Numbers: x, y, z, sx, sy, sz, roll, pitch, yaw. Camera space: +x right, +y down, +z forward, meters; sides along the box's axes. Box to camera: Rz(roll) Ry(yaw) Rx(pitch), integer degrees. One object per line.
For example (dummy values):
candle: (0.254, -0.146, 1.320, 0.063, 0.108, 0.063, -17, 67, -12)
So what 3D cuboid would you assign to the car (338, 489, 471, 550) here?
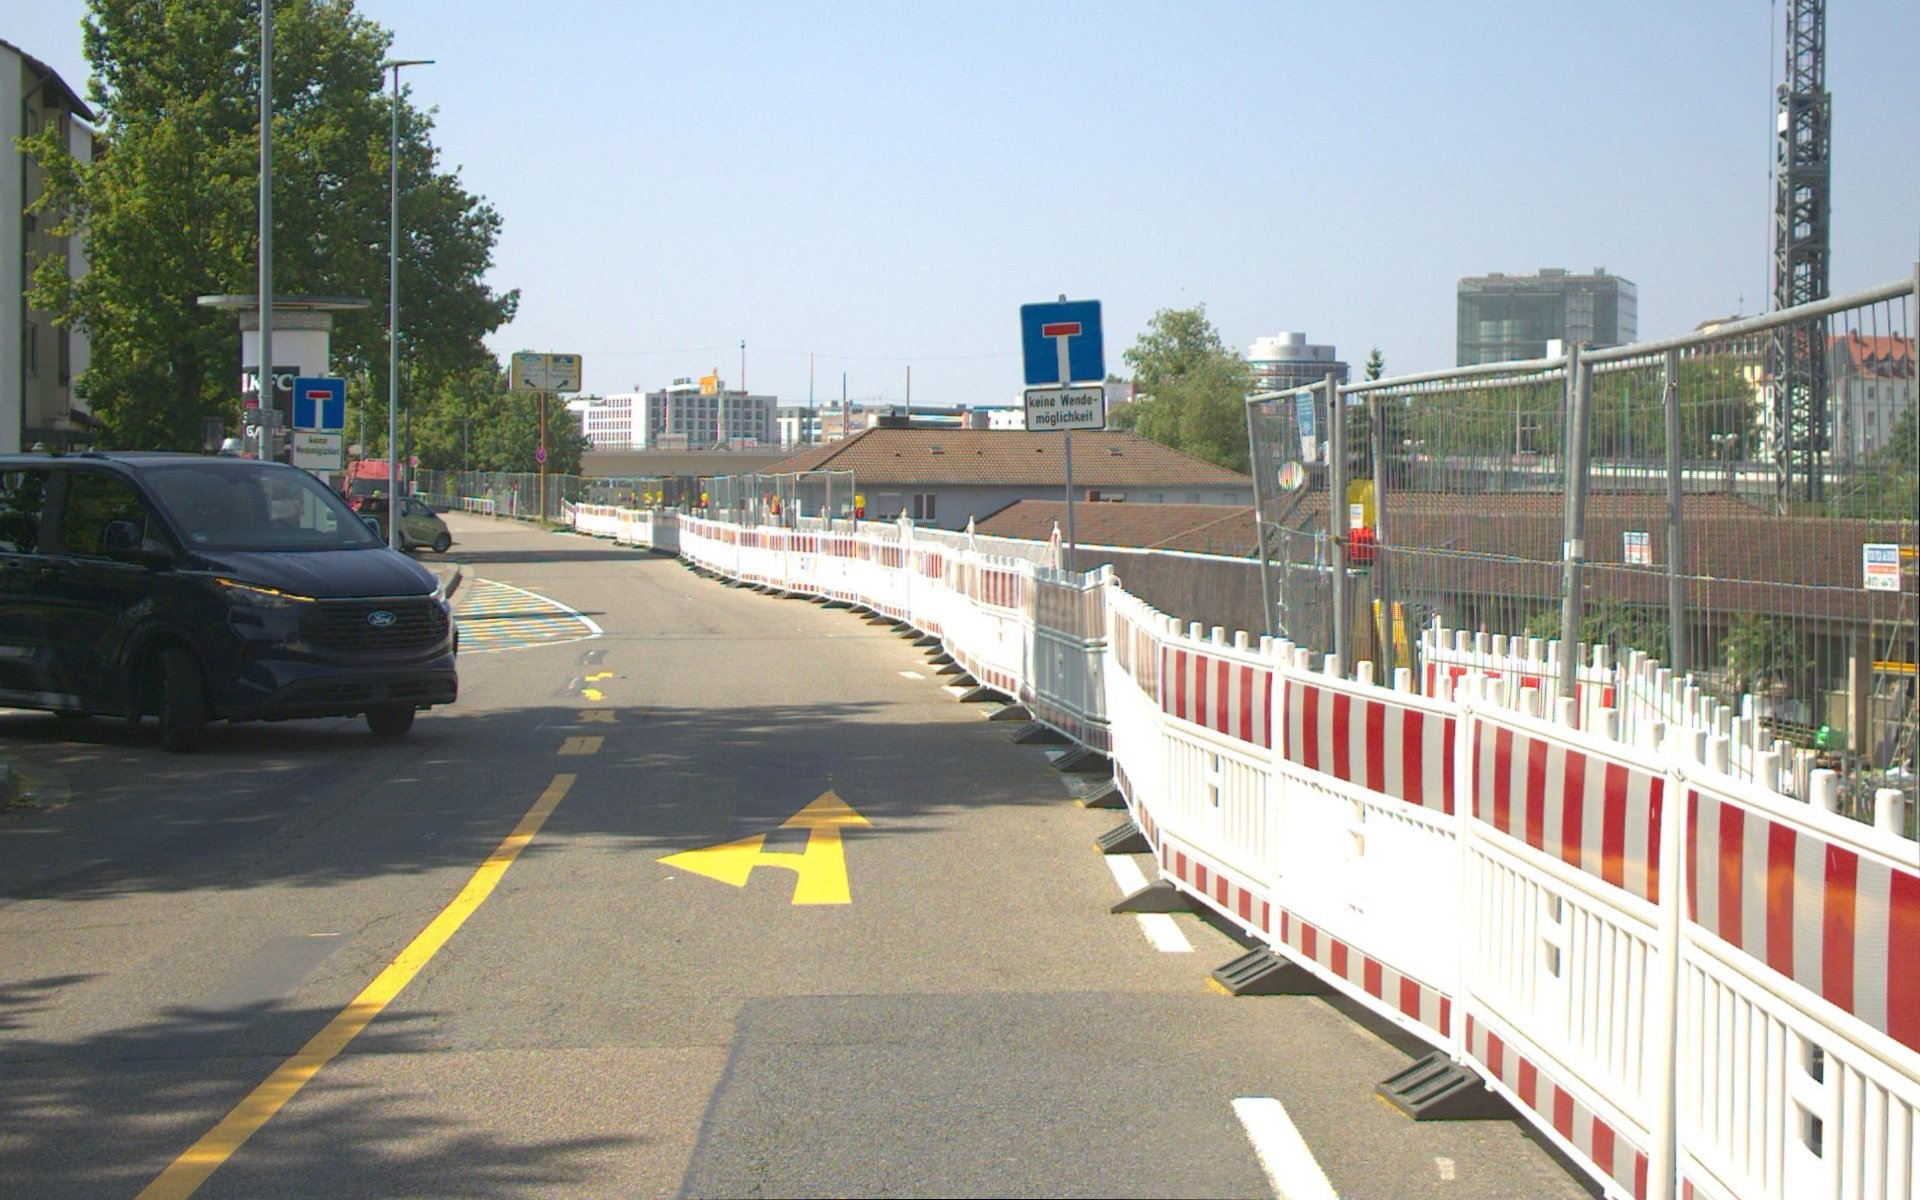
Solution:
car: (-15.456, -2.226, 95.771, 1.725, 1.632, 3.273, 2, 1, 43)

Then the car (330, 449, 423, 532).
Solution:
car: (-18.545, -3.463, 109.498, 2.537, 2.511, 5.119, 1, 1, -6)

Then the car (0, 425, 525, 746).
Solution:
car: (-5.739, -0.131, 23.814, 5.439, 1.961, 2.179, 0, 3, 39)
